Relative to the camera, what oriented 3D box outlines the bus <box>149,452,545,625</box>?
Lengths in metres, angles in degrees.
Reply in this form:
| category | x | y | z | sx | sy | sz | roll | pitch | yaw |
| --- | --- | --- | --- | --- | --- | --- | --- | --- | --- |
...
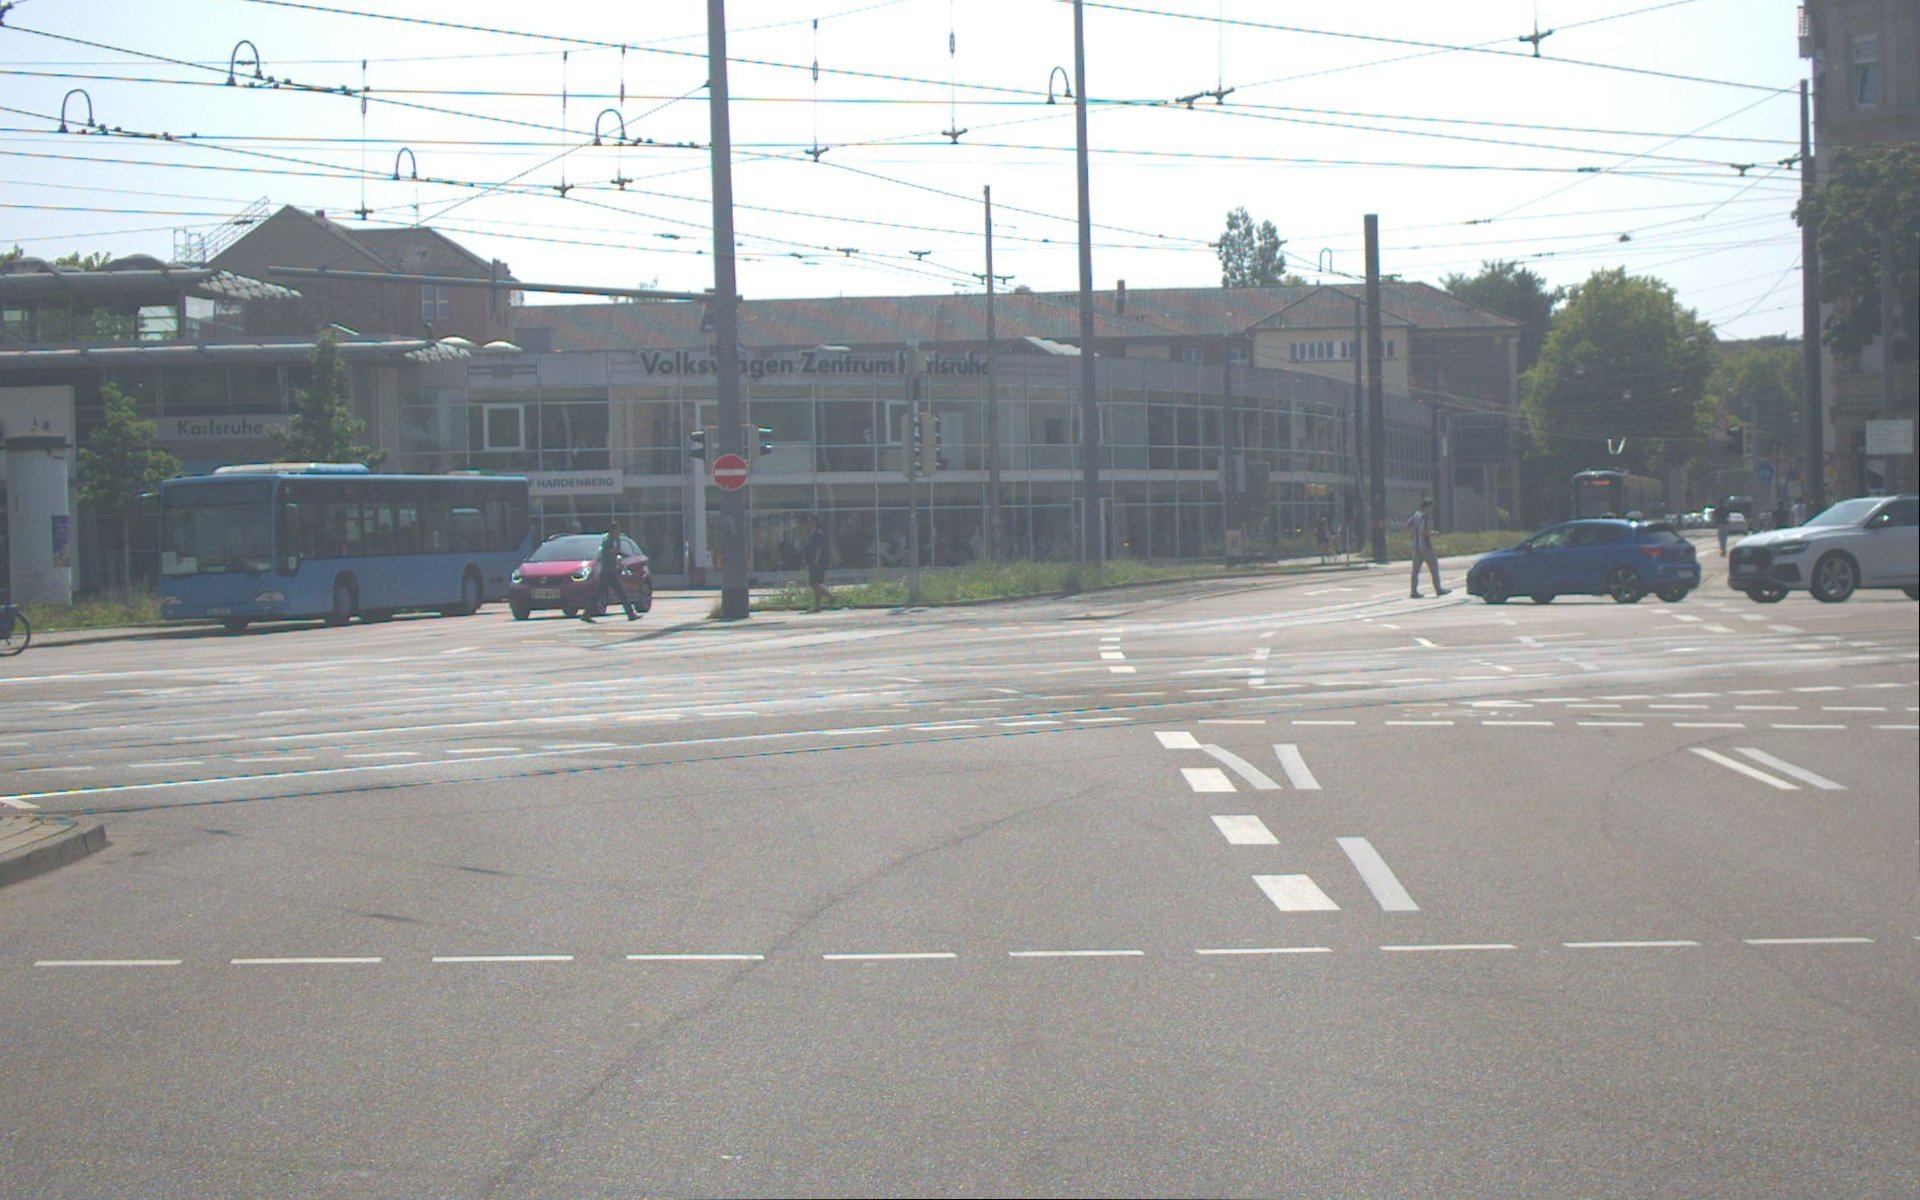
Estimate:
| category | x | y | z | sx | sy | sz | roll | pitch | yaw |
| --- | --- | --- | --- | --- | --- | --- | --- | --- | --- |
| bus | -11.780 | -1.235 | 67.825 | 2.564 | 3.072 | 12.014 | -1 | 1 | 16 |

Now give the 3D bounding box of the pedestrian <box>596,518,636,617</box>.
| category | x | y | z | sx | sy | sz | roll | pitch | yaw |
| --- | --- | --- | --- | --- | --- | --- | --- | --- | --- |
| pedestrian | -5.883 | -0.564 | 58.744 | 0.552 | 1.678 | 0.454 | -1 | 1 | -19 |

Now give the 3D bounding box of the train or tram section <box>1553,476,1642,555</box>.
| category | x | y | z | sx | sy | sz | roll | pitch | yaw |
| --- | --- | --- | --- | --- | --- | --- | --- | --- | --- |
| train or tram section | 29.651 | -3.936 | 159.651 | 2.590 | 3.504 | 10.889 | -1 | 1 | 18 |

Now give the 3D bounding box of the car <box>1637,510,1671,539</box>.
| category | x | y | z | sx | sy | sz | roll | pitch | yaw |
| --- | --- | --- | --- | --- | --- | --- | --- | --- | --- |
| car | 45.622 | -4.939 | 225.888 | 1.821 | 1.803 | 3.997 | 1 | 0 | 17 |

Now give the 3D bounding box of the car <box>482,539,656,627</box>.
| category | x | y | z | sx | sy | sz | roll | pitch | yaw |
| --- | --- | --- | --- | --- | --- | --- | --- | --- | --- |
| car | -7.318 | -0.344 | 64.726 | 1.751 | 1.546 | 3.997 | -1 | 1 | 18 |

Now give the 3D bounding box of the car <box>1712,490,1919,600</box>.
| category | x | y | z | sx | sy | sz | roll | pitch | yaw |
| --- | --- | --- | --- | --- | --- | --- | --- | --- | --- |
| car | 14.046 | -0.876 | 53.443 | 4.320 | 1.612 | 1.755 | -2 | 1 | -20 |

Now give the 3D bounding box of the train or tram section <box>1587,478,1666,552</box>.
| category | x | y | z | sx | sy | sz | roll | pitch | yaw |
| --- | --- | --- | --- | --- | --- | --- | --- | --- | --- |
| train or tram section | 32.896 | -4.202 | 169.446 | 2.590 | 3.504 | 9.650 | -1 | 1 | 18 |

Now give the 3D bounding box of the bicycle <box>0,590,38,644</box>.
| category | x | y | z | sx | sy | sz | roll | pitch | yaw |
| --- | --- | --- | --- | --- | --- | --- | --- | --- | --- |
| bicycle | -14.921 | 0.267 | 51.941 | 1.855 | 0.799 | 0.608 | -2 | 1 | -19 |

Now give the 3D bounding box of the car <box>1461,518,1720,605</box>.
| category | x | y | z | sx | sy | sz | roll | pitch | yaw |
| --- | --- | --- | --- | --- | --- | --- | --- | --- | --- |
| car | 10.689 | -0.651 | 58.336 | 3.994 | 1.389 | 1.593 | -1 | 1 | 32 |

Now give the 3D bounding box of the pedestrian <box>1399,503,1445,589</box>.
| category | x | y | z | sx | sy | sz | roll | pitch | yaw |
| --- | --- | --- | --- | --- | --- | --- | --- | --- | --- |
| pedestrian | 8.669 | -1.022 | 64.561 | 0.699 | 1.597 | 0.573 | -1 | 1 | -8 |

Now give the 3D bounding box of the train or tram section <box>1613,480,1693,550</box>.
| category | x | y | z | sx | sy | sz | roll | pitch | yaw |
| --- | --- | --- | --- | --- | --- | --- | --- | --- | --- |
| train or tram section | 36.406 | -4.447 | 180.242 | 2.590 | 3.504 | 12.961 | -1 | 1 | 18 |
